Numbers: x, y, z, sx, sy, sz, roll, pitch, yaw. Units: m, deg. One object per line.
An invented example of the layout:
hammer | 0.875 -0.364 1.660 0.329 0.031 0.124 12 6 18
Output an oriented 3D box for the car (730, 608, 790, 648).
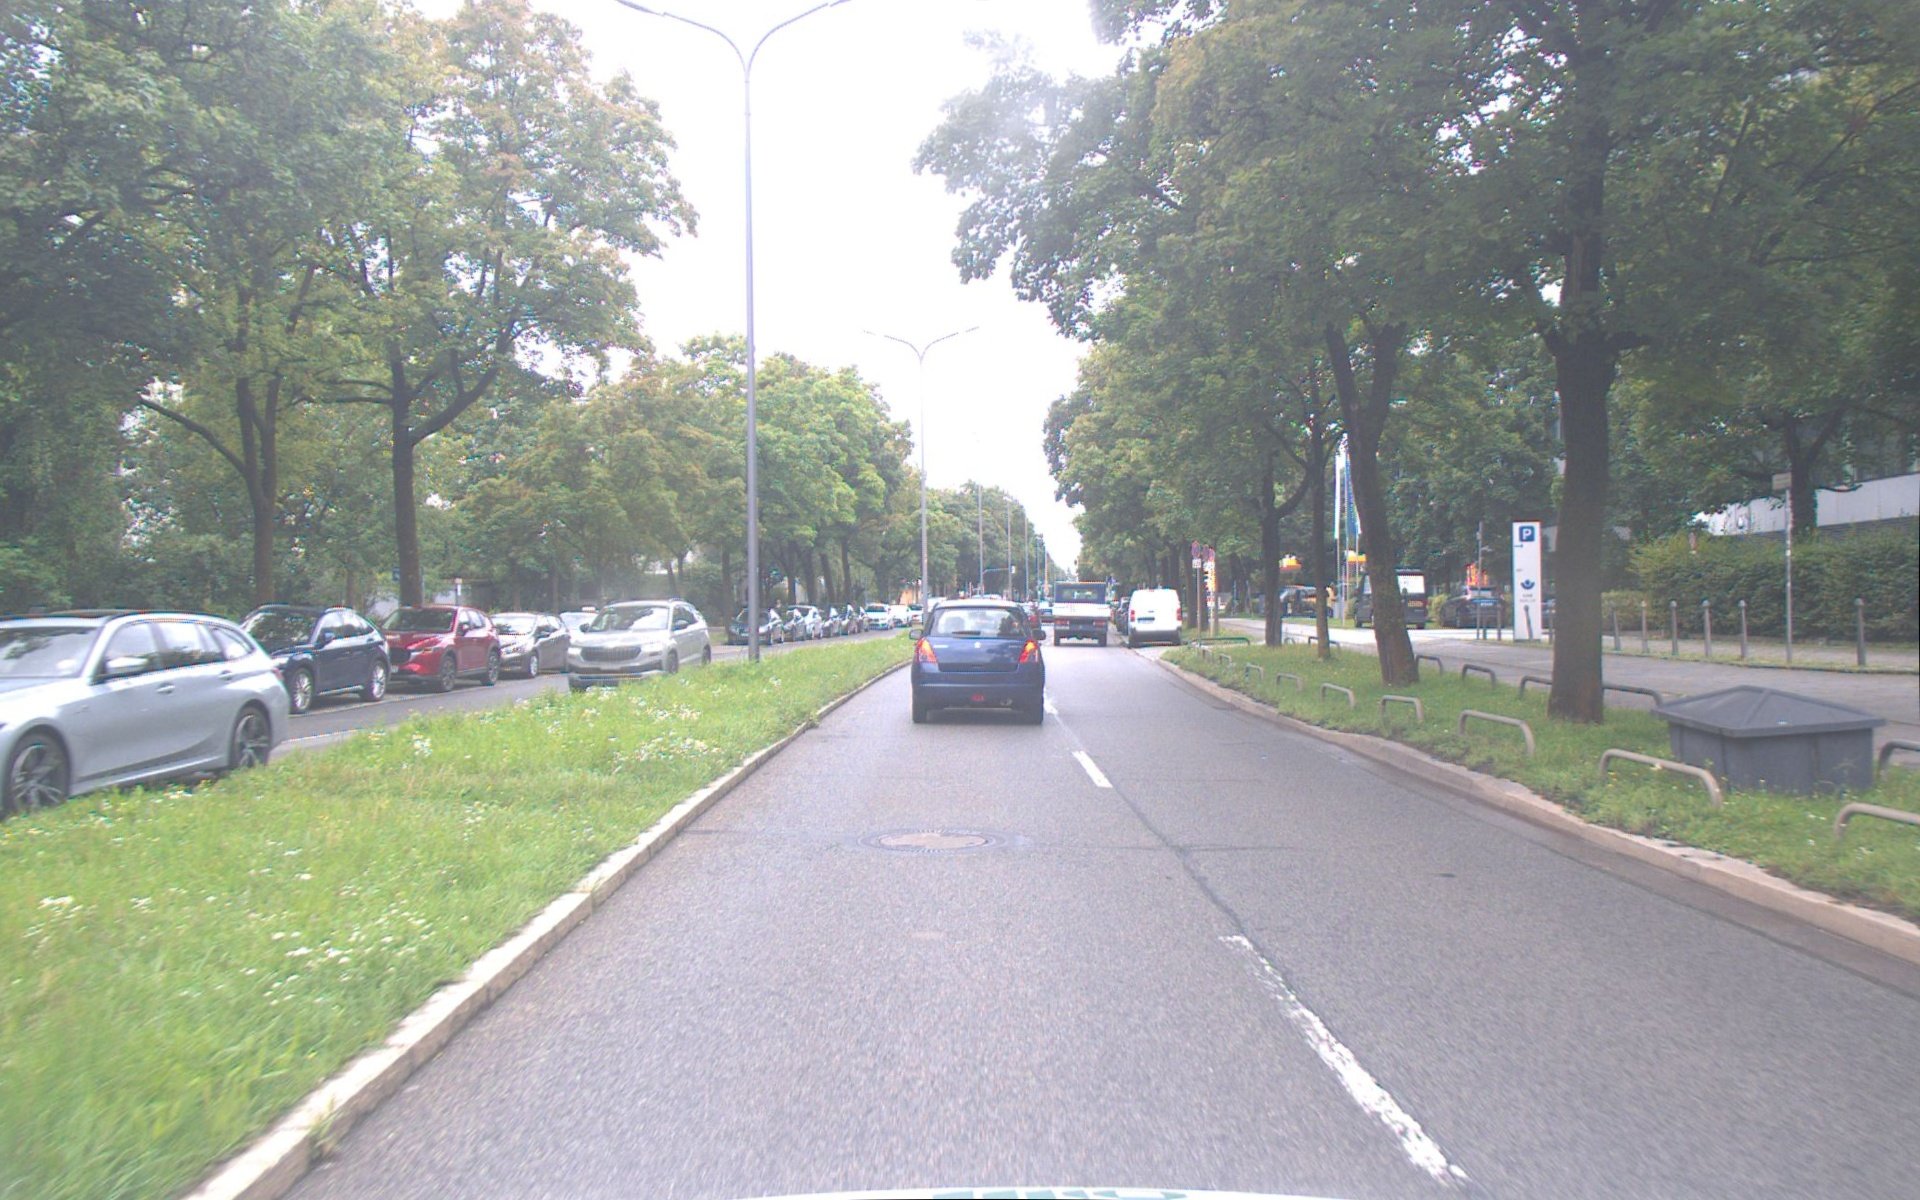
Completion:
car | -7.945 1.086 66.107 1.547 1.448 4.365 2 0 4

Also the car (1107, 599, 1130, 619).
car | 13.070 0.743 136.706 1.724 1.479 4.635 -3 0 4

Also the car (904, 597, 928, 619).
car | -3.365 0.593 126.819 1.655 1.593 3.080 -1 0 2

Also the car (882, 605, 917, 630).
car | -4.154 1.198 113.806 1.793 1.637 4.494 1 0 5

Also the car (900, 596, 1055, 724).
car | 0.252 0.719 21.602 1.857 1.525 3.661 0 0 1

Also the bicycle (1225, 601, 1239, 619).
bicycle | 18.462 0.668 112.395 0.732 1.203 2.248 -1 0 4

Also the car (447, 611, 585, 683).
car | -10.235 1.049 38.454 1.702 1.508 4.336 1 0 5

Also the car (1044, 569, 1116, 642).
car | 4.318 0.187 58.657 2.367 2.487 5.090 0 0 6

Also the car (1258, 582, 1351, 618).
car | 21.220 0.016 101.962 5.355 2.120 2.148 -1 0 4

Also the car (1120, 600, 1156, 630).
car | 8.975 0.749 83.126 1.665 1.433 4.516 -2 0 7

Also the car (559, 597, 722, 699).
car | -5.645 0.806 29.760 1.729 1.653 4.379 -2 0 4

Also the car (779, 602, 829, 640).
car | -7.182 0.955 76.452 1.591 1.676 3.870 2 0 5

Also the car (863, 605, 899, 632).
car | -4.915 1.154 103.669 1.720 1.622 4.491 1 0 3

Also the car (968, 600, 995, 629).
car | 1.654 1.077 124.287 1.743 2.065 4.820 -2 0 4

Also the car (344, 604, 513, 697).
car | -10.605 0.953 33.371 1.702 1.680 4.608 1 0 3

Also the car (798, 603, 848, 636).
car | -6.746 0.933 81.649 1.680 1.551 5.037 2 0 4

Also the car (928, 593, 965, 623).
car | -0.760 0.439 97.107 1.795 1.671 4.353 -2 0 4

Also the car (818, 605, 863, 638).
car | -6.276 1.112 87.223 1.650 1.625 4.213 1 0 5

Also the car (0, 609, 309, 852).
car | -6.887 0.858 12.334 1.875 1.510 4.867 -2 0 3

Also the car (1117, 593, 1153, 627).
car | 9.359 0.532 88.309 1.774 1.705 4.803 -2 0 6

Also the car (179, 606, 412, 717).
car | -10.976 0.946 27.718 1.702 1.672 4.687 0 0 5

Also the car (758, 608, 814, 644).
car | -7.533 1.095 71.988 1.591 1.448 4.194 2 0 5

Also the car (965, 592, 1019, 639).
car | 1.114 0.516 57.544 1.762 1.525 3.660 -1 0 1

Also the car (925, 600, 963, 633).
car | -1.134 1.152 117.556 2.163 2.232 5.802 -3 0 4

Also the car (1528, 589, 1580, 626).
car | 23.410 0.294 65.110 1.746 1.398 3.964 -1 0 22

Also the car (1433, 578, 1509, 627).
car | 20.446 0.108 66.299 1.803 1.850 4.473 -2 0 3

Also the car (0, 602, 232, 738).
car | -11.540 0.858 22.110 1.612 1.642 3.821 0 0 6

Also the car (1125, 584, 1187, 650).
car | 6.932 0.585 59.036 1.945 2.195 5.558 -2 0 5

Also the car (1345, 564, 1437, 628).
car | 17.105 -0.145 65.965 2.217 2.347 6.270 -2 0 3

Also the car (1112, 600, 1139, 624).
car | 11.379 0.834 113.726 1.742 1.537 4.288 -3 0 6

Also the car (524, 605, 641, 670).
car | -9.806 0.938 43.316 1.702 1.556 4.478 1 0 5
